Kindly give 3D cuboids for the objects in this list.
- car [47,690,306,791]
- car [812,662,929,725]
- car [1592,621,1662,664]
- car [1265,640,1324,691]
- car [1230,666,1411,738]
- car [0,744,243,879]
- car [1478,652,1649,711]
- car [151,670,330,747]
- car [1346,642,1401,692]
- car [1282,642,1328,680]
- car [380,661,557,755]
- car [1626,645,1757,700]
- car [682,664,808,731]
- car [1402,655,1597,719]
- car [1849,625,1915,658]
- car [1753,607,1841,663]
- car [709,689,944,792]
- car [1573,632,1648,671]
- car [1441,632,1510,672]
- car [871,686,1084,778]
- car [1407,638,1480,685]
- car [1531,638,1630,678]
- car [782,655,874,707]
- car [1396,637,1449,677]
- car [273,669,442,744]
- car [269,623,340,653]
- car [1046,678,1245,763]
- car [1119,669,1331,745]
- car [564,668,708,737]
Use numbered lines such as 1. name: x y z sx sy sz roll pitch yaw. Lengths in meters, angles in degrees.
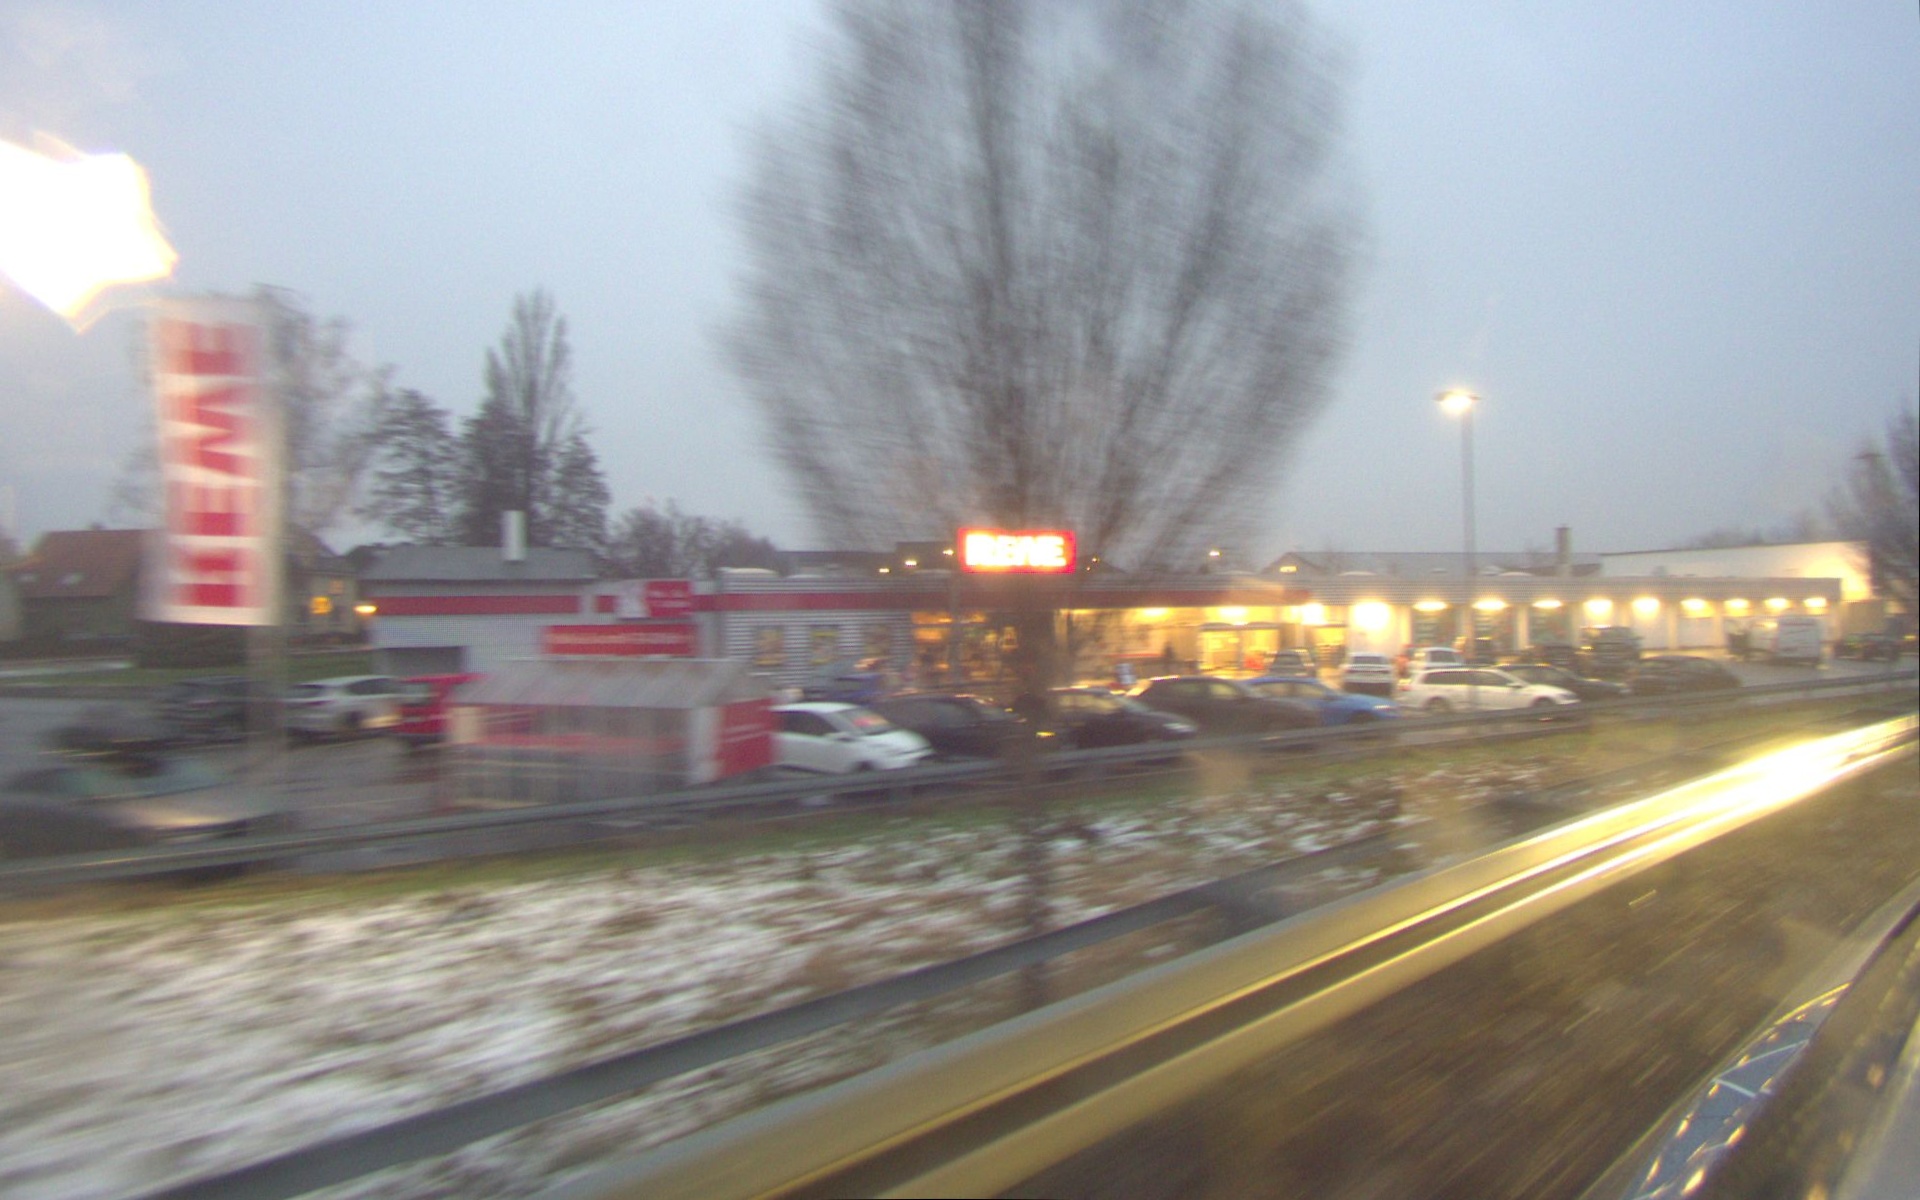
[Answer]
1. car: -16.038 2.832 20.986 3.952 1.622 1.726 0 0 -25
2. car: -2.537 2.684 29.873 1.725 1.443 4.285 0 0 22
3. car: 33.154 2.087 50.436 1.865 1.983 4.923 -1 -1 22
4. car: 12.250 2.347 36.932 1.583 1.606 3.599 -1 0 26
5. car: 8.993 2.487 25.287 4.134 1.414 1.889 0 1 24
6. car: -11.544 2.786 13.723 3.167 1.330 1.382 0 0 18
7. car: 17.560 2.329 29.702 4.138 1.414 1.835 0 1 27
8. car: -19.491 2.880 27.602 1.549 1.633 3.815 0 0 19
9. car: 15.410 2.431 37.875 1.784 1.555 4.512 -1 0 21
10. car: 14.427 2.495 42.272 1.581 1.364 3.604 -1 0 23
11. car: -12.268 2.634 25.541 1.701 1.892 4.010 0 0 19
12. car: 23.257 2.264 32.171 3.733 1.447 1.776 -1 1 -25
13. car: -5.870 2.643 28.012 1.552 1.448 3.731 0 0 23
14. car: 14.953 2.371 28.331 4.658 1.414 1.887 0 1 27
15. car: 47.417 2.105 52.104 1.701 1.430 3.970 0 1 31
16. car: 41.172 1.635 49.926 2.259 2.470 5.190 0 1 27
17. car: -2.439 2.513 18.663 3.950 1.457 1.785 0 0 20
18. car: 28.252 2.219 44.068 1.694 1.536 3.244 -1 -1 13
19. car: 23.577 2.345 46.409 1.773 1.615 3.966 0 0 11
20. car: 0.356 2.560 20.087 3.950 1.438 1.621 0 0 20
21. car: 18.860 2.338 39.685 1.800 1.660 4.447 0 -1 16
22. car: 25.199 2.333 41.193 3.223 1.555 1.380 -2 -2 25
23. car: -4.317 2.632 33.608 1.548 1.369 3.816 0 0 18
24. car: 20.461 2.485 44.880 1.705 1.520 4.001 0 0 19
25. car: -16.517 2.863 27.939 1.605 1.628 3.808 0 0 23
26. car: -49.587 2.852 76.667 1.964 1.969 4.852 0 1 4
27. car: 3.924 2.471 21.349 3.950 1.438 1.621 0 0 20
28. car: 6.070 2.406 23.331 4.525 1.473 1.921 -1 0 17
29. car: -8.663 2.712 27.359 1.554 1.448 3.724 0 0 28
